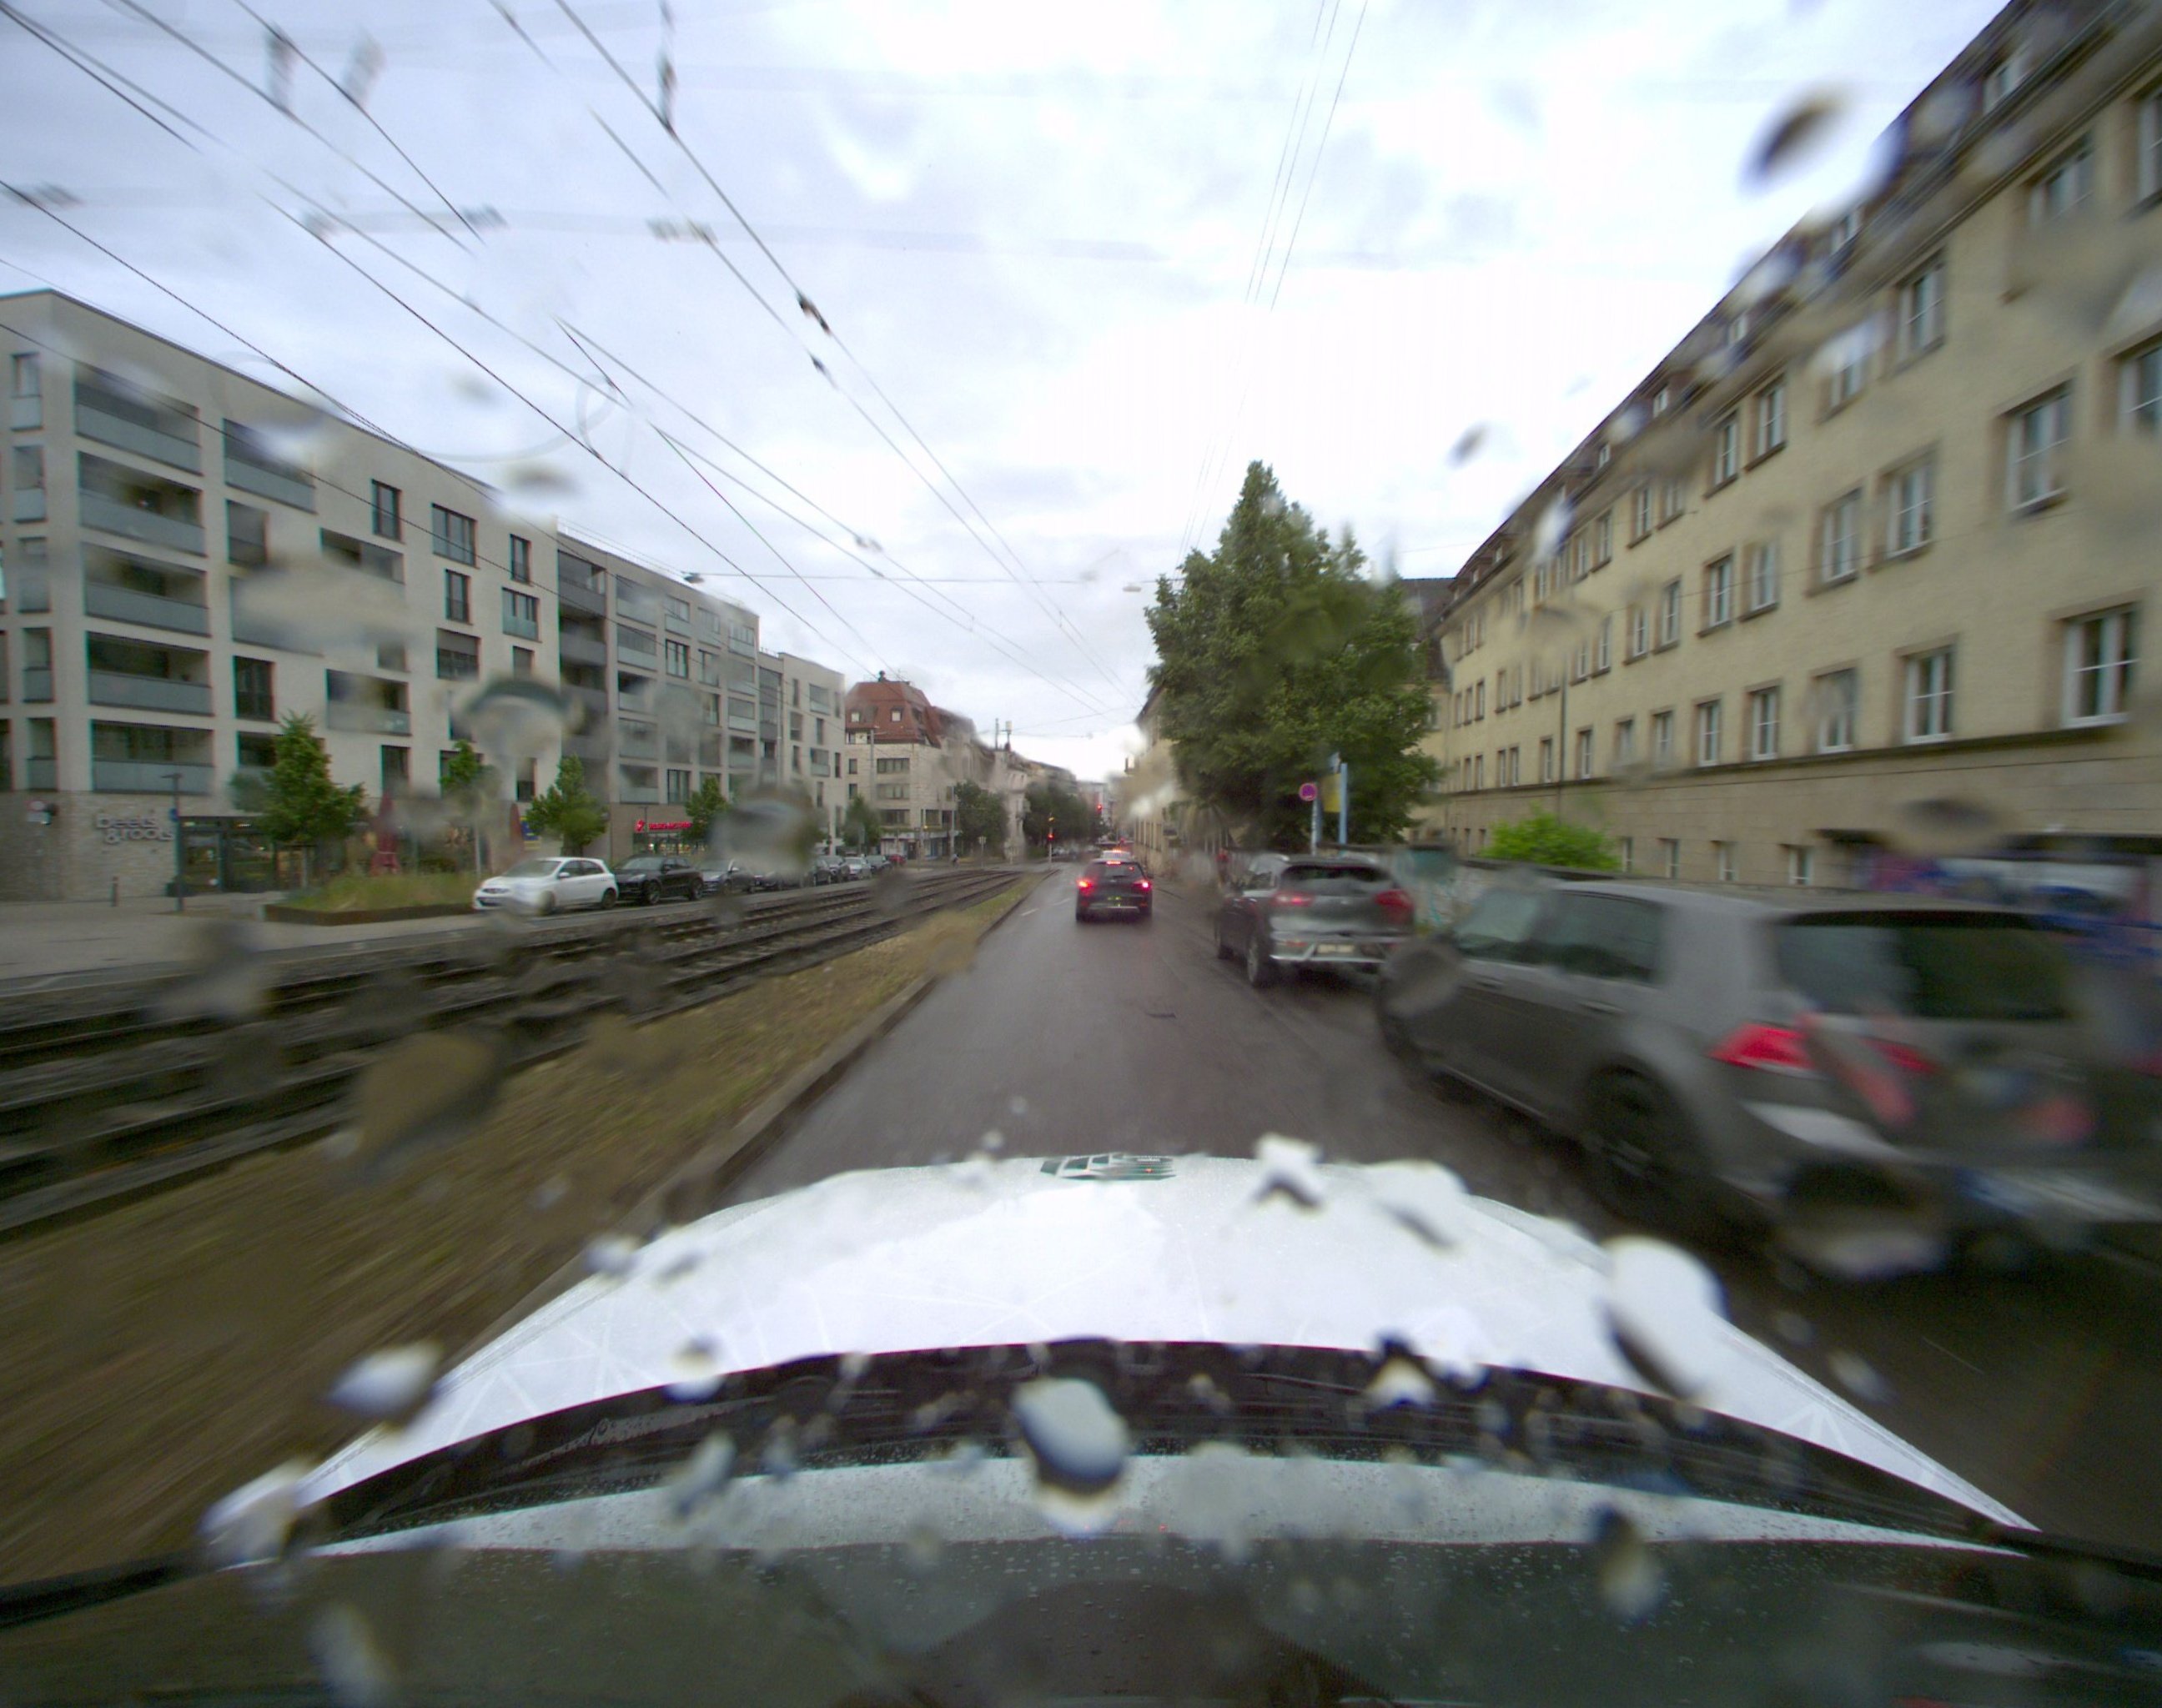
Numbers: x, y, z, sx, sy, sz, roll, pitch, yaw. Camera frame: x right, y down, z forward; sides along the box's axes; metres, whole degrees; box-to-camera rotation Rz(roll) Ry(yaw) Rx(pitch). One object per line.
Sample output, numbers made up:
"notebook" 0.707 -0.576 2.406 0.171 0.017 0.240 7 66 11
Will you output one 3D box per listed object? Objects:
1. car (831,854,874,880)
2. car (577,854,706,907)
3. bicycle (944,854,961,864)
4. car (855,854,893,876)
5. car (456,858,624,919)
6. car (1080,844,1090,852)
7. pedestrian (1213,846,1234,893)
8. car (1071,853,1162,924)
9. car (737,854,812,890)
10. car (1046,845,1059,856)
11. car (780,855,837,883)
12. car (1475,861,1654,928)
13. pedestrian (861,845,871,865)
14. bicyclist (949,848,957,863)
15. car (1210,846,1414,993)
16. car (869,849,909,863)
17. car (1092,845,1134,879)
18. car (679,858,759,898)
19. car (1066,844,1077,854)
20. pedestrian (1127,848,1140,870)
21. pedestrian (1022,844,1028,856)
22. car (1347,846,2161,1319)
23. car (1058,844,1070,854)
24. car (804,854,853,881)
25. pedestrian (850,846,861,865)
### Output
"car" -14.392 0.793 51.482 1.769 1.504 4.078 -1 0 -4
"car" -14.167 0.792 26.564 1.760 1.561 4.405 -1 0 0
"bicycle" -13.864 0.548 88.161 1.810 1.064 0.452 0 0 -36
"car" -14.795 0.767 58.438 1.908 1.504 4.231 -1 0 -4
"car" -14.543 0.866 22.170 1.756 1.479 3.742 -1 0 7
"car" 0.898 -1.366 184.032 1.984 1.662 4.005 0 0 4
"pedestrian" 5.214 0.559 29.829 0.630 1.721 0.711 -1 0 1
"car" 0.765 0.759 20.071 1.915 1.479 3.997 -1 1 -2
"car" -13.867 0.786 37.093 1.713 1.513 4.318 -1 0 0
"car" -5.182 -0.644 147.451 1.984 2.013 4.005 0 0 4
"car" -14.045 0.739 42.218 1.544 1.362 4.010 1 0 0
"car" 13.863 1.127 23.570 4.099 1.793 1.800 0 0 10
"pedestrian" -22.614 0.100 85.598 0.940 2.013 0.764 0 0 -5
"bicyclist" -13.831 0.173 88.182 0.705 1.574 0.457 0 0 -37
"car" 2.777 0.682 10.709 1.659 1.524 4.112 -2 0 3
"car" -22.733 0.226 96.432 4.110 1.568 1.827 0 0 8
"car" 1.836 0.409 45.040 2.127 1.745 4.224 -1 1 4
"car" -14.117 0.903 31.923 1.544 1.435 3.451 -1 0 0
"car" -2.030 -0.988 170.971 1.984 2.013 4.005 0 0 4
"pedestrian" 4.518 0.422 69.989 1.042 1.795 0.901 0 0 -3
"pedestrian" -10.075 -0.719 145.951 0.942 2.013 0.762 0 0 -10
"car" 3.048 0.723 4.689 1.660 1.476 4.108 -2 0 0
"car" -3.306 -1.003 160.062 1.984 2.013 4.005 0 0 4
"car" -14.437 0.739 46.765 1.769 1.504 3.916 -1 0 -4
"pedestrian" -23.782 0.116 86.013 0.940 2.013 0.764 0 0 -5
